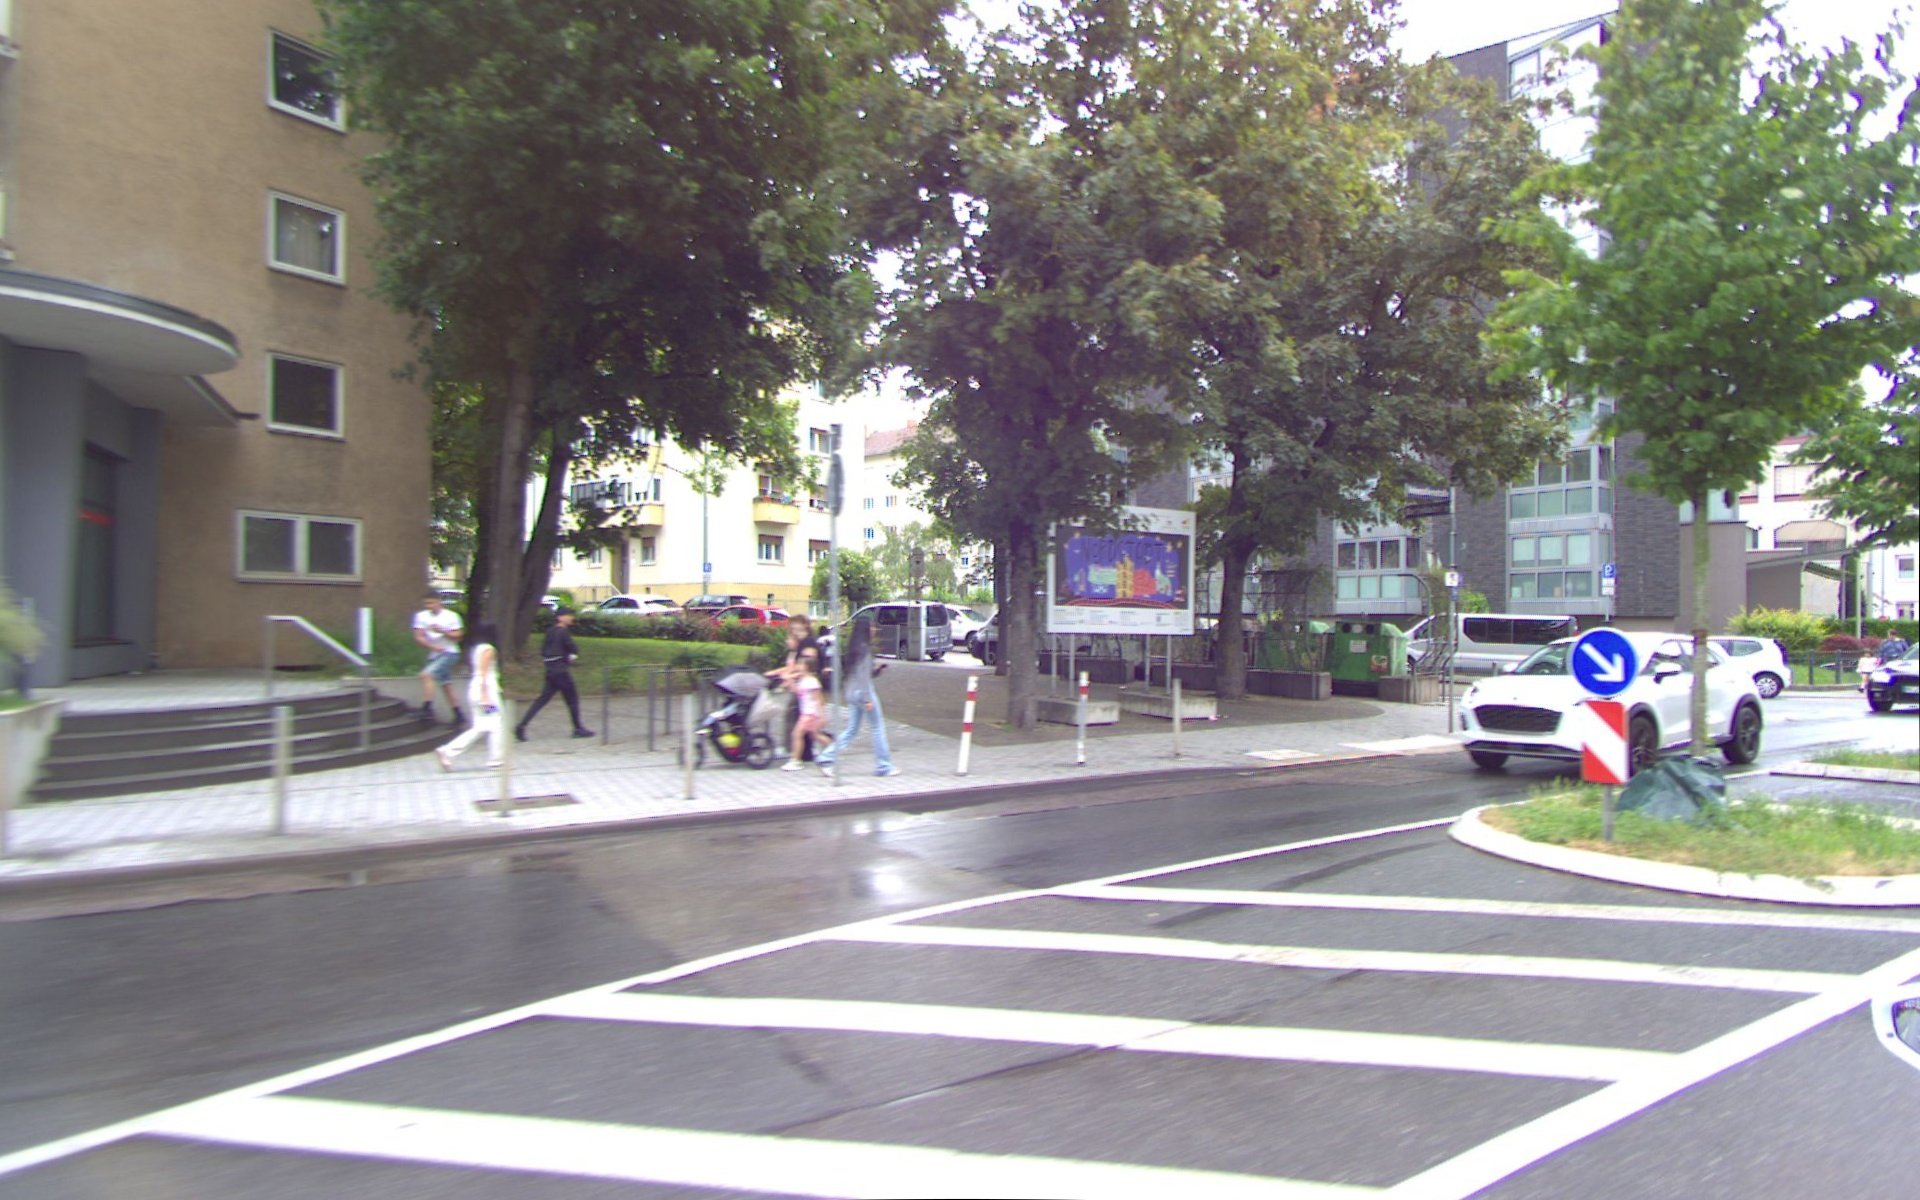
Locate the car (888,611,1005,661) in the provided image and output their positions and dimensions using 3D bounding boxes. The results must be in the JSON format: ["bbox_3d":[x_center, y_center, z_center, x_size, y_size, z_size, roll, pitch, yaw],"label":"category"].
[{"bbox_3d":[-0.520,1.317,37.408,3.933,1.751,1.994,0,-1,34],"label":"car"}]

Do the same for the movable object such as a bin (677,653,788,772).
[{"bbox_3d":[-2.423,1.163,10.699,0.956,1.149,0.699,1,0,-34],"label":"movable object such as a bin"}]

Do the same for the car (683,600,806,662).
[{"bbox_3d":[-7.582,1.043,35.339,3.930,2.040,1.995,1,-1,32],"label":"car"}]

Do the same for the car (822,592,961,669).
[{"bbox_3d":[-2.161,0.939,31.466,3.930,2.285,1.995,-1,-1,32],"label":"car"}]

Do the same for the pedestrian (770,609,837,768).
[{"bbox_3d":[-1.728,0.952,11.081,0.547,1.695,0.494,1,0,-34],"label":"pedestrian"}]

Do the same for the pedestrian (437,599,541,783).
[{"bbox_3d":[-4.780,0.887,10.200,0.646,1.782,0.718,0,-1,36],"label":"pedestrian"}]

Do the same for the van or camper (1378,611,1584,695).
[{"bbox_3d":[14.368,1.392,27.856,4.879,2.040,1.996,1,0,30],"label":"van or camper"}]

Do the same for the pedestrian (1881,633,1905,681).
[{"bbox_3d":[24.068,1.455,25.908,0.308,1.214,0.406,1,-1,-37],"label":"pedestrian"}]

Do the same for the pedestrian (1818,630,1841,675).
[{"bbox_3d":[23.418,1.406,27.042,0.355,1.214,0.406,1,-1,-37],"label":"pedestrian"}]

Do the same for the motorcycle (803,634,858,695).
[{"bbox_3d":[-2.563,1.245,19.743,0.783,1.001,2.052,1,2,-15],"label":"motorcycle"}]

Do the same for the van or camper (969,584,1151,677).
[{"bbox_3d":[2.800,0.768,28.200,4.536,2.297,2.207,2,1,31],"label":"van or camper"}]

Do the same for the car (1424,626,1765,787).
[{"bbox_3d":[7.511,1.132,11.812,4.044,1.589,1.810,1,-3,-32],"label":"car"}]

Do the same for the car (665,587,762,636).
[{"bbox_3d":[-10.737,0.489,43.706,3.933,2.040,1.994,0,-1,34],"label":"car"}]

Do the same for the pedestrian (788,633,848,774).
[{"bbox_3d":[-1.503,1.074,10.641,0.476,1.429,0.430,1,0,-34],"label":"pedestrian"}]

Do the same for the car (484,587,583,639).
[{"bbox_3d":[-17.490,0.538,41.139,3.935,2.040,1.993,-1,-1,36],"label":"car"}]

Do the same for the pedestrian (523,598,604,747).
[{"bbox_3d":[-5.211,0.918,13.190,0.690,1.869,0.851,1,-1,-45],"label":"pedestrian"}]

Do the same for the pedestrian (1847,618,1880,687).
[{"bbox_3d":[23.842,1.378,26.505,0.576,1.785,0.570,1,-1,-37],"label":"pedestrian"}]

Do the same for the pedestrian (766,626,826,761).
[{"bbox_3d":[-1.891,1.056,11.559,0.525,1.493,0.457,1,0,-34],"label":"pedestrian"}]

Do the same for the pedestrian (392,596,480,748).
[{"bbox_3d":[-6.648,0.876,12.753,0.711,1.850,0.720,1,0,31],"label":"pedestrian"}]

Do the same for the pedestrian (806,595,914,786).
[{"bbox_3d":[-1.019,0.884,10.338,0.712,1.850,0.851,1,0,37],"label":"pedestrian"}]

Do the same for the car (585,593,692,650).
[{"bbox_3d":[-12.122,0.806,37.796,3.939,2.040,1.991,-1,-1,39],"label":"car"}]

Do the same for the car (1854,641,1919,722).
[{"bbox_3d":[19.567,1.552,19.576,4.448,1.444,2.003,1,0,-31],"label":"car"}]

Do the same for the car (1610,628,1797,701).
[{"bbox_3d":[18.630,1.570,25.372,3.522,1.590,1.739,1,0,27],"label":"car"}]
